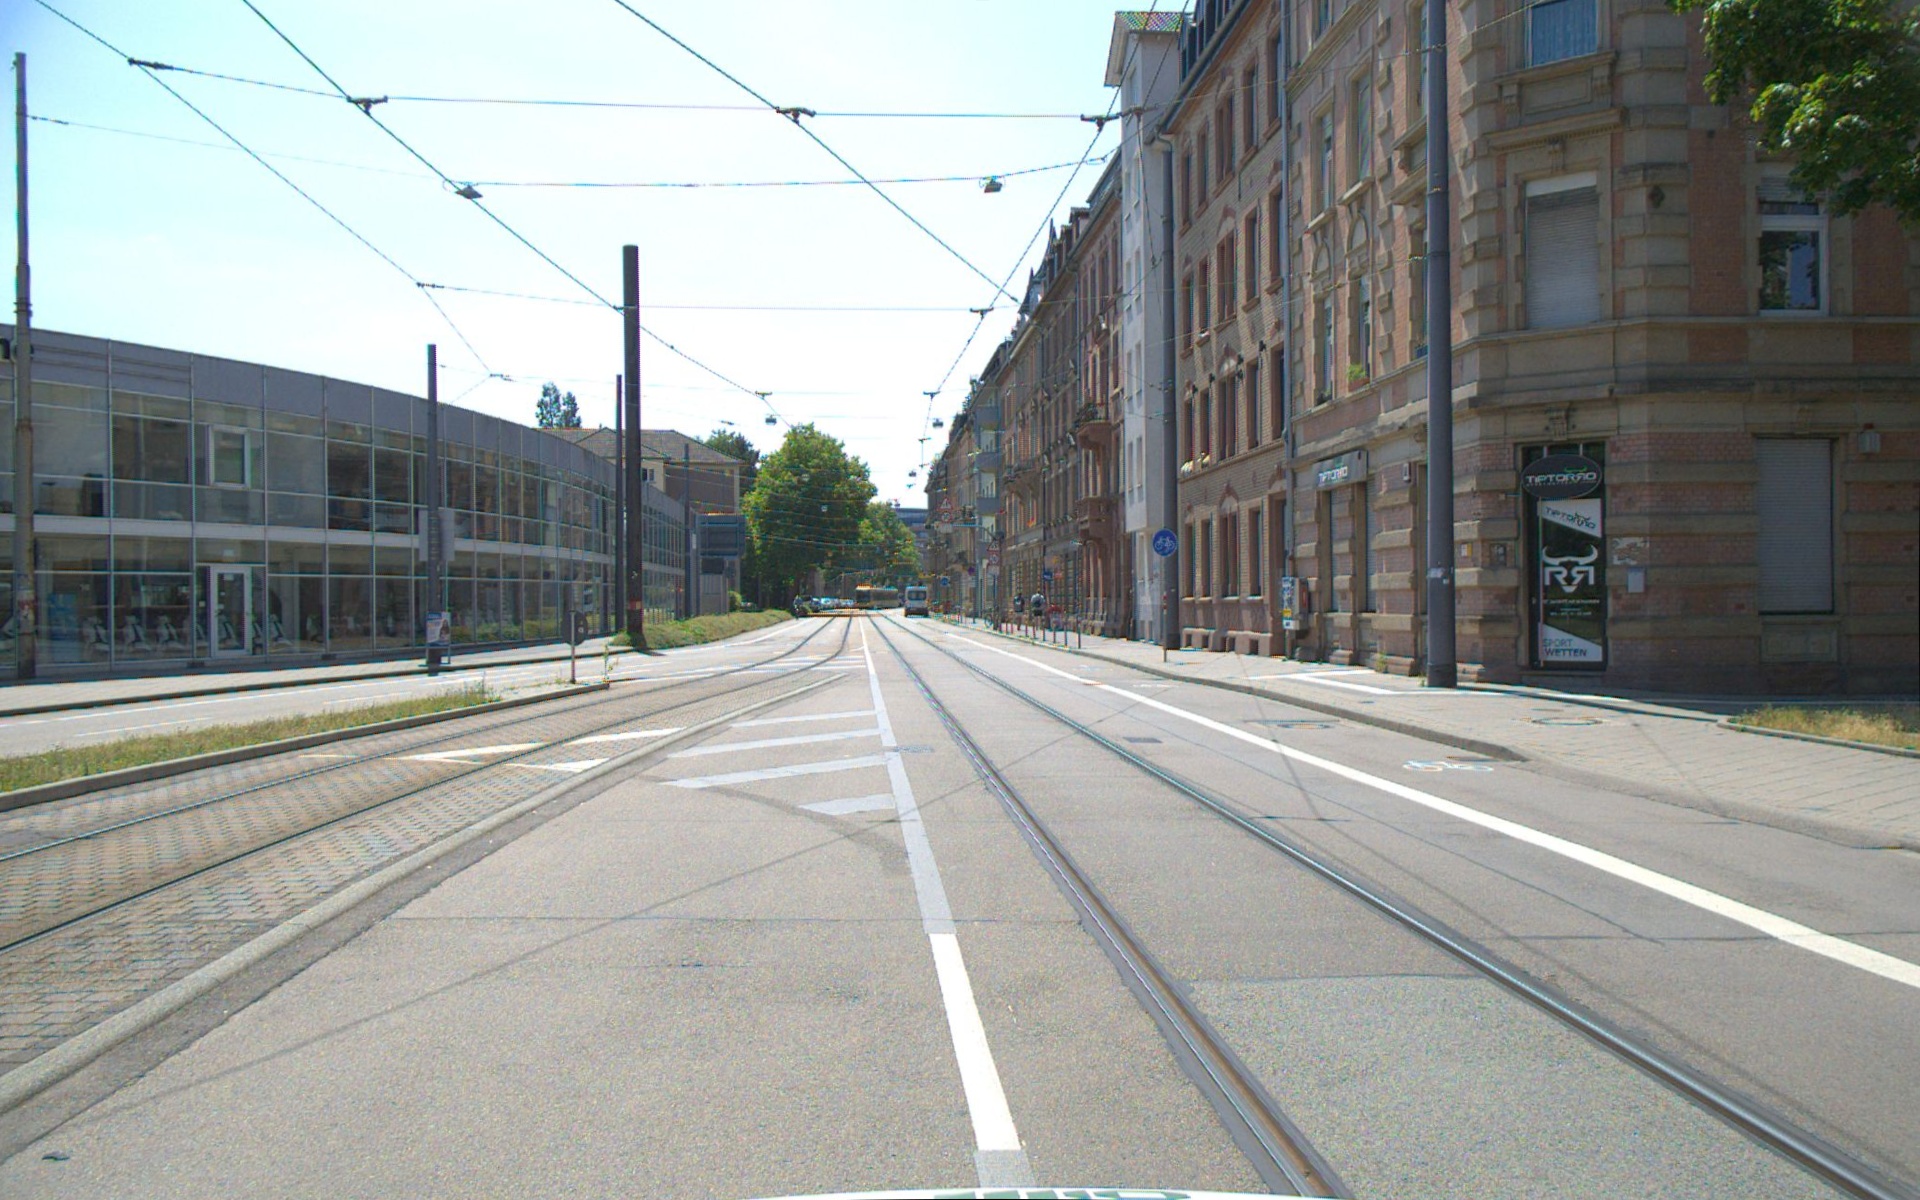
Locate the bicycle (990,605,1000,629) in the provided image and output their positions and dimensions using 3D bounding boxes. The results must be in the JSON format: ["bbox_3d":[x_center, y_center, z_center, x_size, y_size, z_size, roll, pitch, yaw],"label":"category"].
[{"bbox_3d":[1.705,0.813,79.433,0.438,1.116,2.423,-1,0,2],"label":"bicycle"}]

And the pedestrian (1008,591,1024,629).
[{"bbox_3d":[2.634,0.473,77.663,0.706,1.750,0.643,-1,0,-3],"label":"pedestrian"}]

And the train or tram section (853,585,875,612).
[{"bbox_3d":[-13.847,-0.218,238.343,2.902,3.643,13.412,0,0,-4],"label":"train or tram section"}]

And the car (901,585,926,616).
[{"bbox_3d":[-4.001,0.054,140.999,2.026,2.545,5.451,0,0,-3],"label":"car"}]

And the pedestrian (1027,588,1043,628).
[{"bbox_3d":[3.517,0.366,77.400,0.688,1.881,0.643,-1,0,-3],"label":"pedestrian"}]

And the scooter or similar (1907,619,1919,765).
[{"bbox_3d":[8.515,0.739,13.545,1.506,1.175,0.707,-1,0,-33],"label":"scooter or similar"}]

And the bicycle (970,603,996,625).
[{"bbox_3d":[1.235,0.735,86.951,0.489,1.150,2.242,-1,0,24],"label":"bicycle"}]
